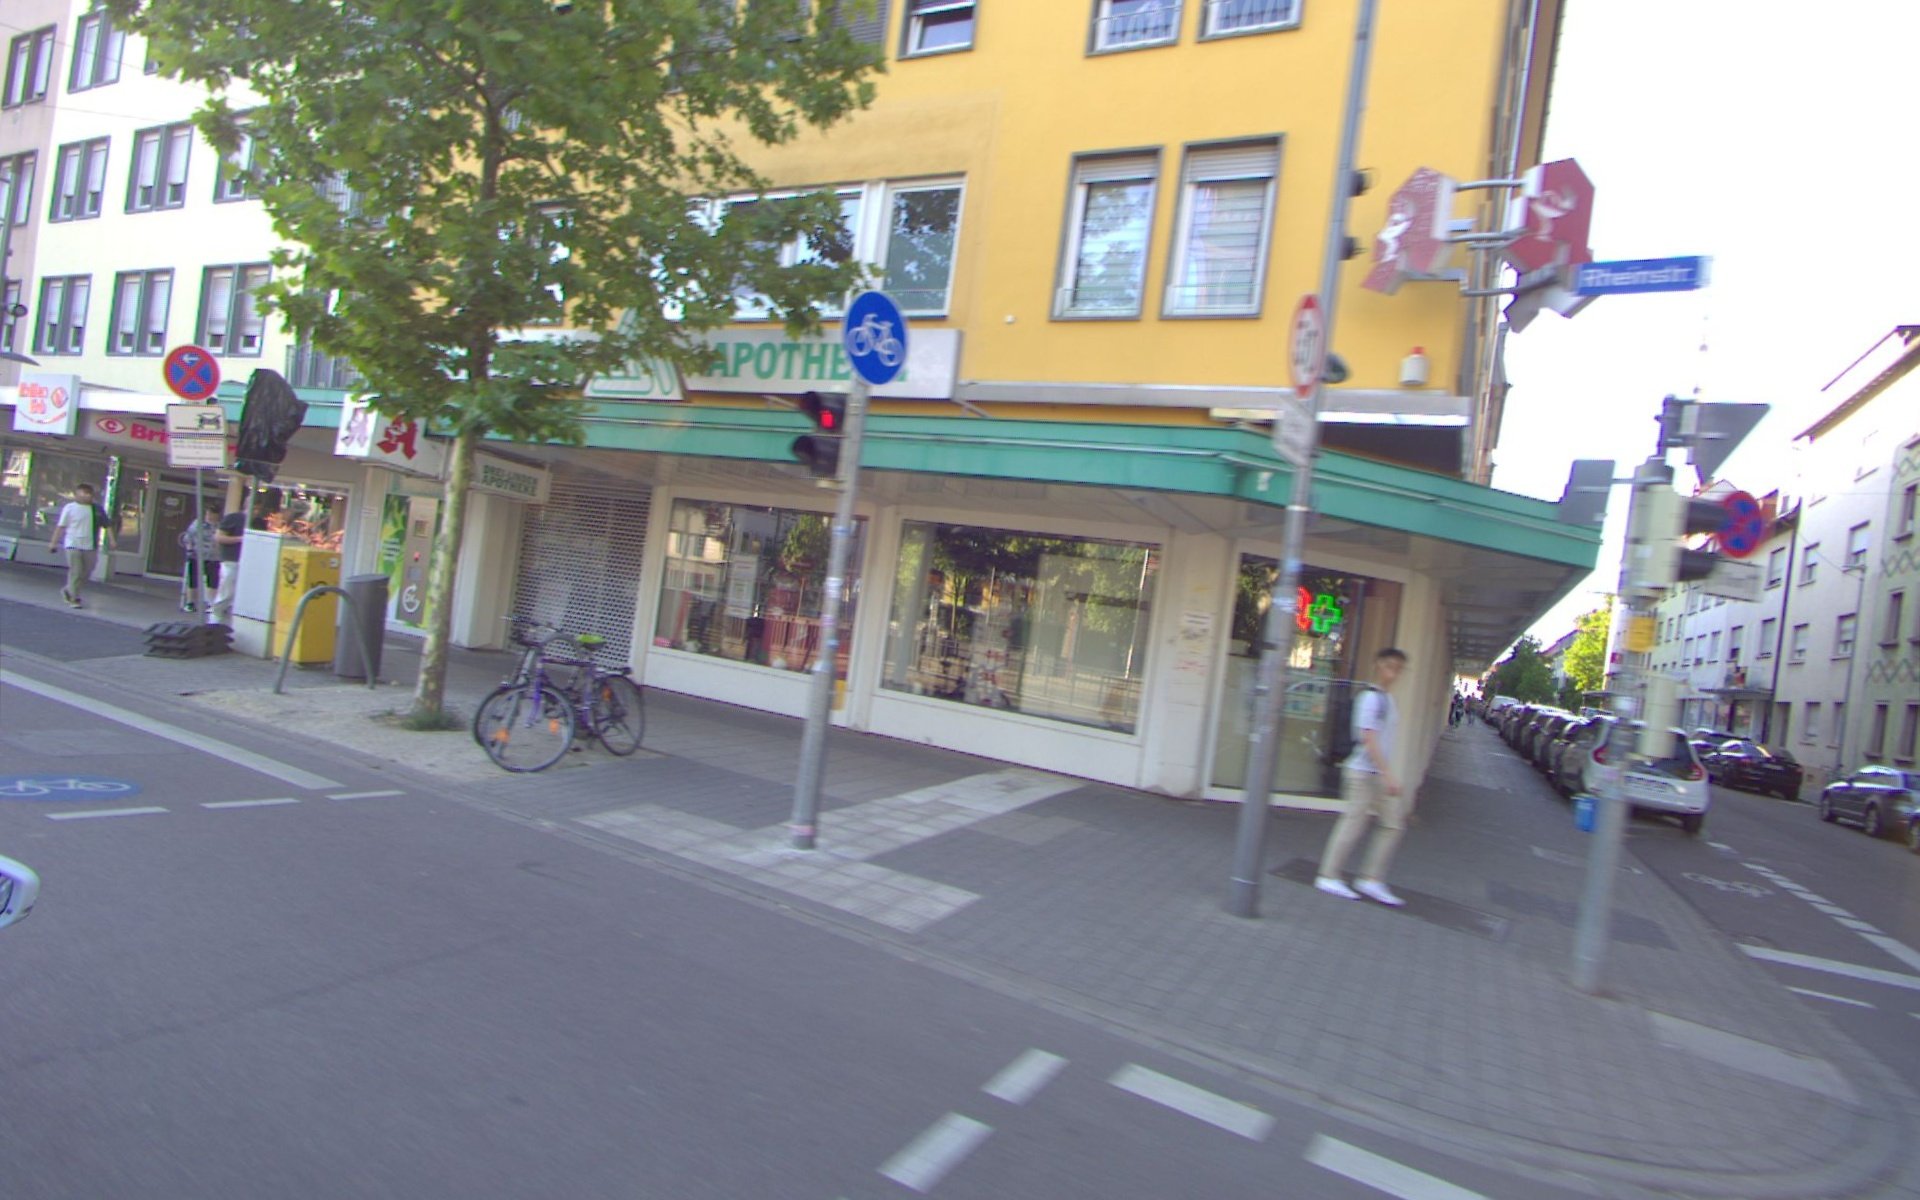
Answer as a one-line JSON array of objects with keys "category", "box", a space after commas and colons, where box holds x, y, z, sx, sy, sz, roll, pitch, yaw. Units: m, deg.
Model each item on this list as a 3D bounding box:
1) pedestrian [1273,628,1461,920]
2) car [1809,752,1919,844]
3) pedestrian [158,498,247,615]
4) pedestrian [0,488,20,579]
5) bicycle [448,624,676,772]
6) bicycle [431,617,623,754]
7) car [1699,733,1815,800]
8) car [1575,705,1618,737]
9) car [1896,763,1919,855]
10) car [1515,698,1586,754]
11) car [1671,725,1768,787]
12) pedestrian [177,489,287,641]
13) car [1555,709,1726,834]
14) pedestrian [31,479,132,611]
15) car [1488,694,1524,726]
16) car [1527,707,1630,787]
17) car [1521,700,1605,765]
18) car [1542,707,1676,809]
[{"category": "pedestrian", "box": [2.909, 1.190, 7.168, 0.879, 1.801, 0.745, 11, 2, 27]}, {"category": "car", "box": [18.955, 4.019, 20.269, 1.741, 1.419, 3.855, 8, -1, 25]}, {"category": "pedestrian", "box": [-12.185, -0.690, 16.184, 0.753, 1.744, 0.725, 7, 0, 27]}, {"category": "pedestrian", "box": [-17.376, -1.231, 17.869, 0.836, 1.597, 0.612, 7, 0, 27]}, {"category": "bicycle", "box": [-3.191, 0.759, 8.267, 0.531, 1.021, 1.802, 7, 1, 24]}, {"category": "bicycle", "box": [-3.629, 0.725, 8.570, 0.446, 1.020, 1.487, 7, -1, 24]}, {"category": "car", "box": [23.686, 4.896, 30.033, 1.741, 1.419, 3.749, 8, -1, 25]}, {"category": "car", "box": [41.721, 7.906, 66.053, 1.741, 1.709, 3.749, 8, -1, 25]}, {"category": "car", "box": [16.602, 3.564, 15.650, 1.741, 1.503, 3.812, 8, -1, 25]}, {"category": "car", "box": [20.178, 4.289, 34.520, 1.742, 1.501, 3.774, 9, -1, 28]}, {"category": "car", "box": [25.943, 5.285, 34.487, 1.741, 1.580, 3.749, 8, -1, 25]}, {"category": "pedestrian", "box": [-9.391, -0.436, 12.989, 0.753, 1.828, 0.725, 7, 0, 27]}, {"category": "car", "box": [10.958, 2.685, 16.442, 1.741, 1.501, 3.319, 7, -1, 27]}, {"category": "pedestrian", "box": [-12.899, -0.794, 14.780, 0.753, 1.800, 0.725, 7, 0, 27]}, {"category": "car", "box": [33.953, 6.831, 62.620, 1.742, 1.642, 3.774, 9, -1, 28]}, {"category": "car", "box": [15.144, 3.545, 24.819, 1.742, 1.501, 3.774, 9, -1, 28]}, {"category": "car", "box": [17.817, 3.871, 29.880, 1.742, 1.501, 3.774, 9, -1, 28]}, {"category": "car", "box": [12.819, 3.044, 20.097, 1.742, 1.501, 3.774, 9, -1, 28]}]
